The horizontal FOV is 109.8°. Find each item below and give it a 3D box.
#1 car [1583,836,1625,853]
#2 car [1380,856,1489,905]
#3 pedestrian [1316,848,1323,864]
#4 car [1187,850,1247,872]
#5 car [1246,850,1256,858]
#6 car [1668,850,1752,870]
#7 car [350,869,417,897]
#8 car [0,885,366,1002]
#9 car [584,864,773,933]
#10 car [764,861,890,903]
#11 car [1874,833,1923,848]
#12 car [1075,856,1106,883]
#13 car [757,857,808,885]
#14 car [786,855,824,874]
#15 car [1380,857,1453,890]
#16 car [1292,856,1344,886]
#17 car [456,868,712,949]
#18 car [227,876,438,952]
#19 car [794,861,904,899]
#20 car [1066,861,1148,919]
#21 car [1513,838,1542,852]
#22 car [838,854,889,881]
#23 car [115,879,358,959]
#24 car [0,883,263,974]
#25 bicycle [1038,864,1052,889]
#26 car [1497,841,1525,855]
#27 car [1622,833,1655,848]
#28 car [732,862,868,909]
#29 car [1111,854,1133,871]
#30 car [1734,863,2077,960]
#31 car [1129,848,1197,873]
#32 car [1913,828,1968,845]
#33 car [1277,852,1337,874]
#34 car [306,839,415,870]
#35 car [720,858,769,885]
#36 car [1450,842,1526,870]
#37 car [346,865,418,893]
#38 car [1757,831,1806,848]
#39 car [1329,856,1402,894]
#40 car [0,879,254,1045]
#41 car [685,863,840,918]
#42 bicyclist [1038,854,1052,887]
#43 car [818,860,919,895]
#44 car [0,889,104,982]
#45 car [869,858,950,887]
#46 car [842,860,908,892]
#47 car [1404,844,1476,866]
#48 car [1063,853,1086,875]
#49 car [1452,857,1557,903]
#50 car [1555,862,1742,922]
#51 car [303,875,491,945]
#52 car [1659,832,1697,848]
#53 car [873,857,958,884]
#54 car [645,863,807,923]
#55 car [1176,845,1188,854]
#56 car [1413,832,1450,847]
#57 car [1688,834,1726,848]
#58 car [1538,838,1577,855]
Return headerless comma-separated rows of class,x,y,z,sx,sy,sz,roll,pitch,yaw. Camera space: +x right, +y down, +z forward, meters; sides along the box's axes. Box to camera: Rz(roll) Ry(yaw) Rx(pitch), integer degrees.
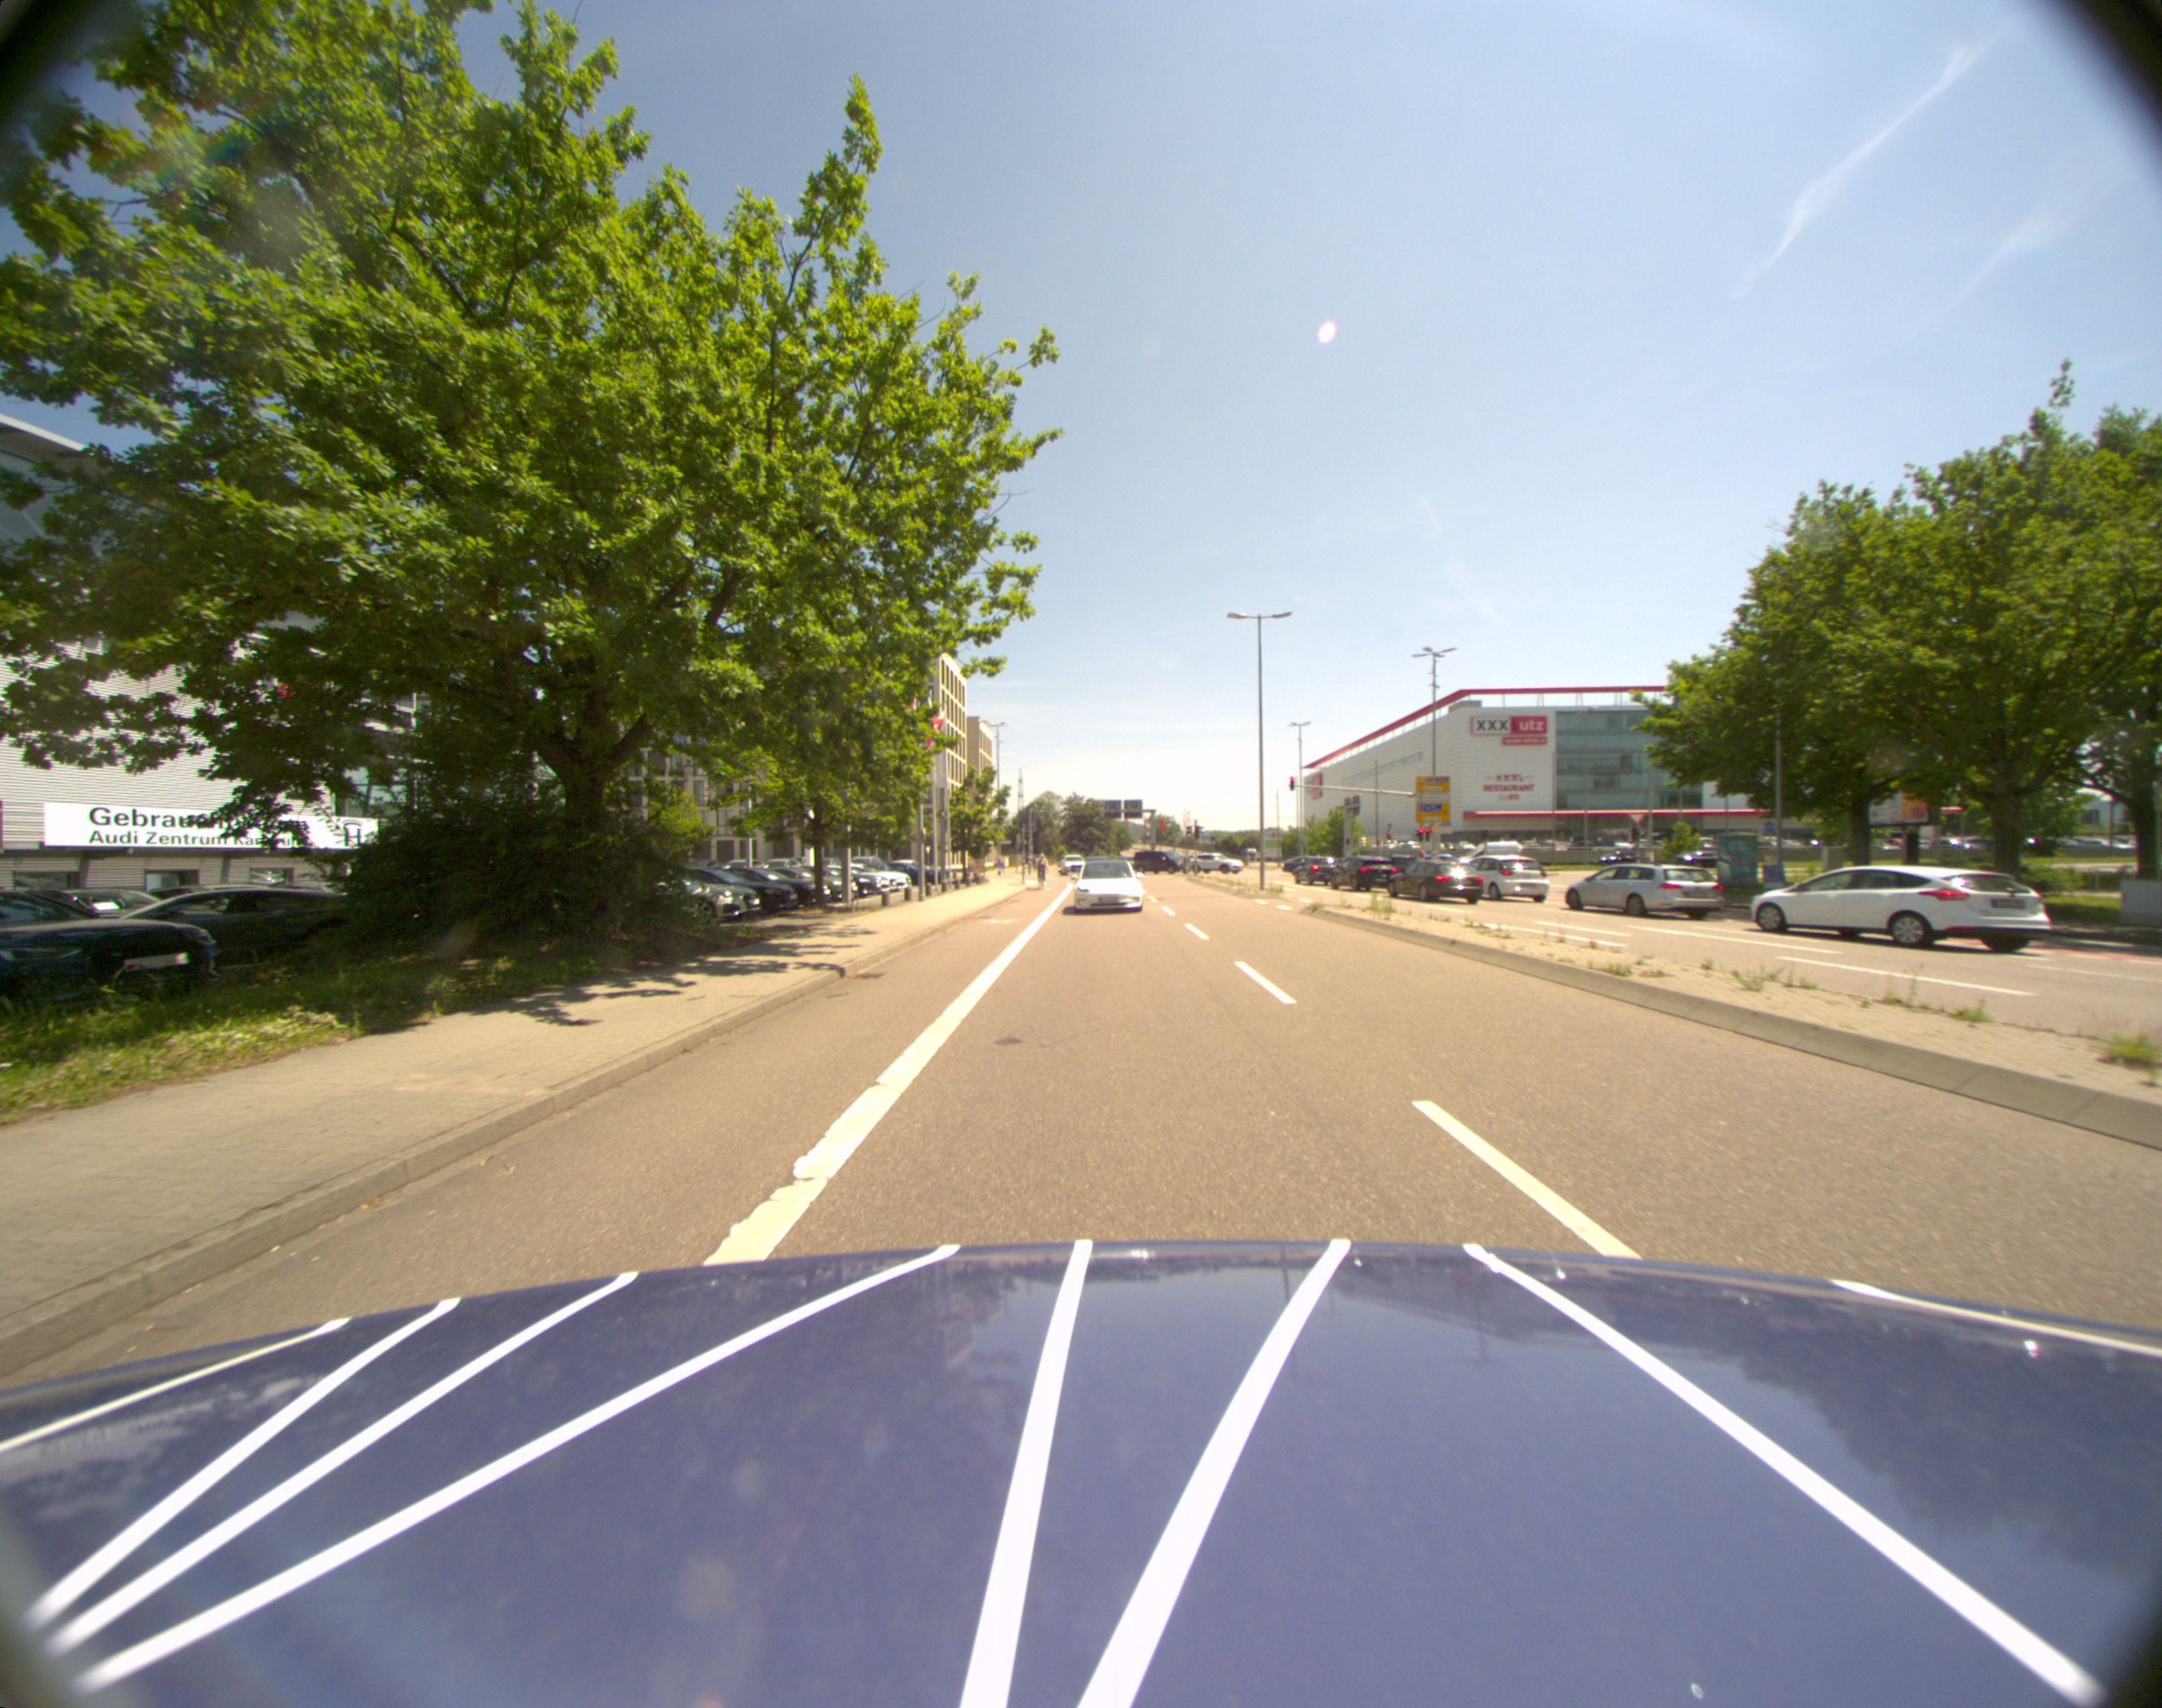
car,63.151,-1.149,91.890,1.999,2.002,4.328,-1,0,-3
car,12.223,0.858,26.630,1.730,1.437,4.720,1,1,2
pedestrian,26.600,0.258,84.747,0.604,1.773,0.827,-1,1,6
car,10.952,0.613,61.522,4.479,1.631,1.774,-2,0,43
car,50.937,0.015,227.122,2.191,2.269,4.815,0,0,4
car,44.825,0.399,54.215,4.462,1.396,1.677,0,0,3
car,-41.547,1.676,45.257,3.987,1.562,1.854,0,1,31
car,-14.605,1.351,12.130,1.847,1.307,4.471,-4,0,44
car,-9.995,1.078,19.085,3.690,1.445,1.834,-3,0,1
car,-9.977,1.091,30.064,4.236,1.382,1.869,-3,0,1
car,97.018,-1.617,90.212,1.783,1.747,3.649,-1,0,-1
car,0.594,0.880,45.705,1.556,1.528,3.822,0,0,5
car,-19.541,1.083,49.889,1.849,1.645,3.997,-3,0,-3
car,-28.317,1.047,77.853,1.924,1.875,4.919,-1,0,-43
car,15.743,0.879,35.868,1.664,1.416,4.038,0,1,1
car,12.281,0.847,39.561,1.647,1.381,3.715,1,1,2
car,-10.507,1.126,16.285,4.242,1.393,1.816,-3,0,1
car,-20.909,1.638,21.358,3.995,1.645,1.850,-5,0,1
car,-9.967,1.098,32.857,4.109,1.341,1.869,-3,0,1
car,0.648,0.969,22.173,1.824,1.427,4.282,-2,0,-5
car,63.226,-1.233,107.649,1.782,2.002,4.135,-1,0,2
car,-14.260,0.851,50.071,1.872,1.549,4.503,0,1,2
car,-21.108,1.581,19.114,3.995,1.645,1.850,-3,0,1
car,-21.150,1.603,16.837,3.995,1.645,1.850,-3,0,1
bicycle,-1.762,1.089,37.097,0.629,1.126,1.894,-1,0,-2
car,60.959,-0.837,107.776,1.782,2.002,4.233,-1,0,2
car,81.203,-1.939,110.664,1.998,2.002,4.000,-1,0,2
car,-10.042,1.098,27.377,4.111,1.396,1.869,-3,0,1
car,3.726,0.754,69.464,1.769,1.414,3.899,-2,-1,0
car,15.308,0.965,14.574,1.731,1.437,4.451,1,1,1
car,6.442,0.508,59.961,5.108,1.811,2.004,-1,0,43
car,101.921,-2.062,90.143,1.998,2.002,4.000,-1,0,2
car,16.166,0.639,54.353,4.081,1.375,1.772,-1,4,18
car,-47.533,0.049,50.209,5.249,1.955,1.913,-1,0,-1
car,-21.994,1.138,49.784,1.641,1.606,3.817,-1,-1,-3
car,32.681,0.145,61.108,5.043,2.170,2.001,-1,0,6
car,-41.789,1.445,45.401,3.792,1.496,1.691,0,3,23
car,84.641,-1.724,91.870,1.998,2.002,4.330,-1,0,2
car,12.426,0.864,33.493,1.730,1.496,4.243,1,1,2
car,-11.569,1.141,7.639,4.460,1.384,1.834,-4,0,1
car,-10.131,1.132,24.375,4.111,1.445,1.869,-3,0,1
bicyclist,-1.757,0.787,37.146,0.629,1.596,0.825,-2,0,-2
car,-9.875,1.088,35.483,4.106,1.356,1.874,-3,0,1
car,-21.121,1.581,14.062,3.908,1.574,1.641,-3,1,1
car,-9.761,1.034,43.449,4.106,1.382,1.869,-3,0,1
car,-10.578,1.080,39.323,1.867,1.411,4.663,-3,0,3
car,26.137,0.076,55.519,4.424,1.394,1.772,-2,0,11
car,-0.506,0.772,61.298,1.799,1.728,3.821,0,0,1
car,15.586,0.900,28.196,1.731,1.535,3.915,0,1,1
car,15.503,0.973,21.135,1.750,1.414,4.623,1,0,0
car,-20.883,1.687,23.316,3.995,1.645,1.850,-5,0,1
car,80.876,-1.881,102.977,1.998,2.002,4.000,-1,0,2
car,-9.940,0.983,45.903,4.603,1.382,1.869,-3,0,1
car,-10.034,1.082,21.672,3.690,1.445,1.834,-3,0,1
car,19.452,-0.815,146.904,1.998,1.696,4.001,-1,0,3
car,49.997,-2.066,108.299,4.469,2.002,1.679,-1,0,4
car,85.840,-1.777,104.301,1.998,1.889,4.001,-1,0,2
car,57.900,-0.948,92.421,1.999,2.002,4.328,-1,0,-2
